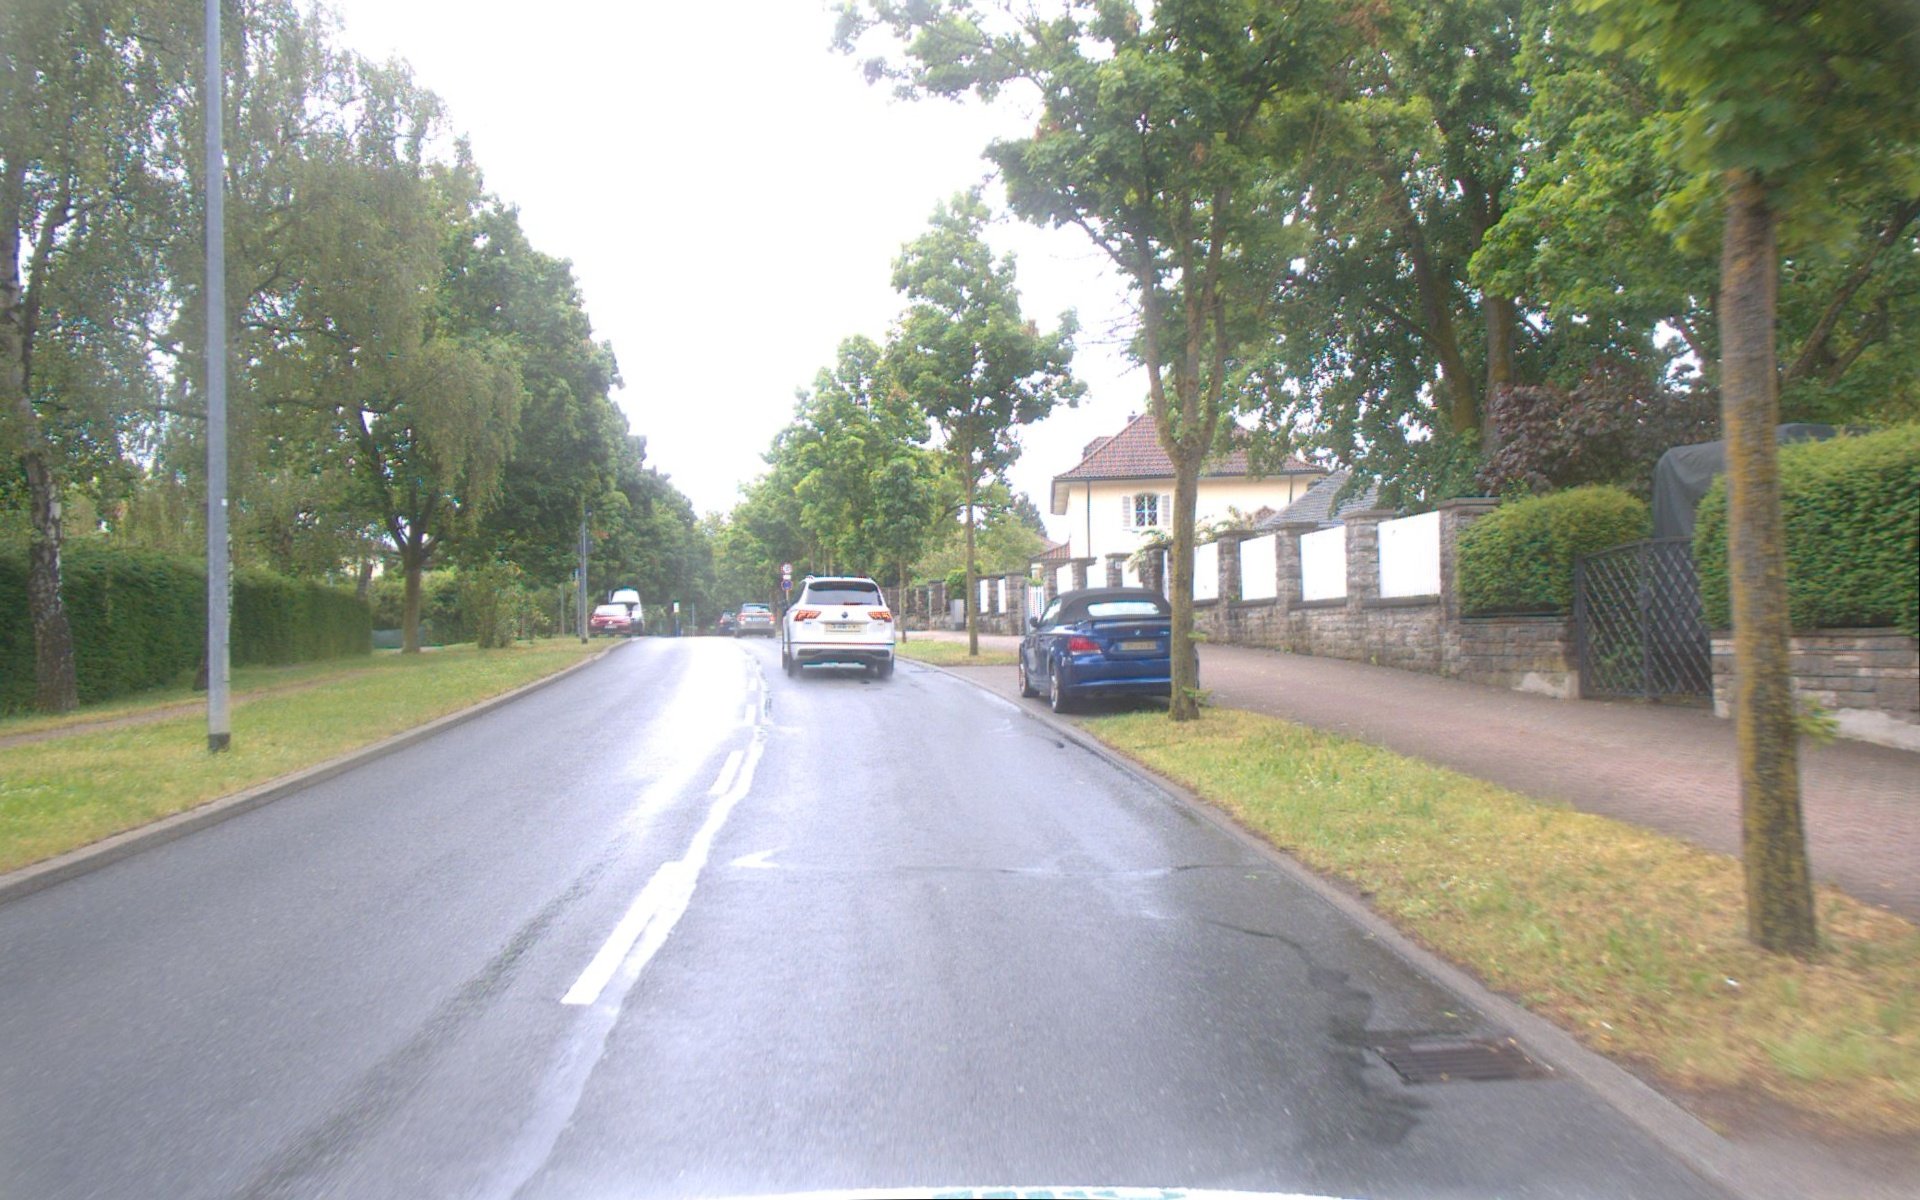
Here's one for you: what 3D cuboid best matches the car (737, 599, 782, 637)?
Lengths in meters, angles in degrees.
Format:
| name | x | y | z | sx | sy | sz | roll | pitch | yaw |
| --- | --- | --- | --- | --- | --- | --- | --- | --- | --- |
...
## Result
| name | x | y | z | sx | sy | sz | roll | pitch | yaw |
| --- | --- | --- | --- | --- | --- | --- | --- | --- | --- |
| car | -8.639 | 0.761 | 71.078 | 1.806 | 1.513 | 3.993 | 0 | 0 | -8 |

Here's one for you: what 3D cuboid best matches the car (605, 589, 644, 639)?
| name | x | y | z | sx | sy | sz | roll | pitch | yaw |
| --- | --- | --- | --- | --- | --- | --- | --- | --- | --- |
| car | -18.378 | 0.787 | 90.748 | 1.957 | 2.606 | 5.219 | -1 | -1 | -10 |

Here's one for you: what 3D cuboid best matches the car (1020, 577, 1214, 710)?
| name | x | y | z | sx | sy | sz | roll | pitch | yaw |
| --- | --- | --- | --- | --- | --- | --- | --- | --- | --- |
| car | 1.823 | 0.486 | 20.345 | 1.610 | 1.401 | 3.824 | -3 | 0 | -6 |

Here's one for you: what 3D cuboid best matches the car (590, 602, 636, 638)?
| name | x | y | z | sx | sy | sz | roll | pitch | yaw |
| --- | --- | --- | --- | --- | --- | --- | --- | --- | --- |
| car | -14.911 | 0.856 | 71.230 | 1.810 | 1.491 | 4.238 | -1 | -1 | -10 |

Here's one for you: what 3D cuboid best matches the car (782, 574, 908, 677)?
| name | x | y | z | sx | sy | sz | roll | pitch | yaw |
| --- | --- | --- | --- | --- | --- | --- | --- | --- | --- |
| car | -2.090 | 0.394 | 29.017 | 1.959 | 1.660 | 3.993 | 0 | 1 | -8 |

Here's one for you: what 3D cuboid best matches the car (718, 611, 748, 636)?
| name | x | y | z | sx | sy | sz | roll | pitch | yaw |
| --- | --- | --- | --- | --- | --- | --- | --- | --- | --- |
| car | -14.139 | 1.448 | 102.936 | 1.817 | 1.442 | 4.218 | 0 | 0 | -8 |
